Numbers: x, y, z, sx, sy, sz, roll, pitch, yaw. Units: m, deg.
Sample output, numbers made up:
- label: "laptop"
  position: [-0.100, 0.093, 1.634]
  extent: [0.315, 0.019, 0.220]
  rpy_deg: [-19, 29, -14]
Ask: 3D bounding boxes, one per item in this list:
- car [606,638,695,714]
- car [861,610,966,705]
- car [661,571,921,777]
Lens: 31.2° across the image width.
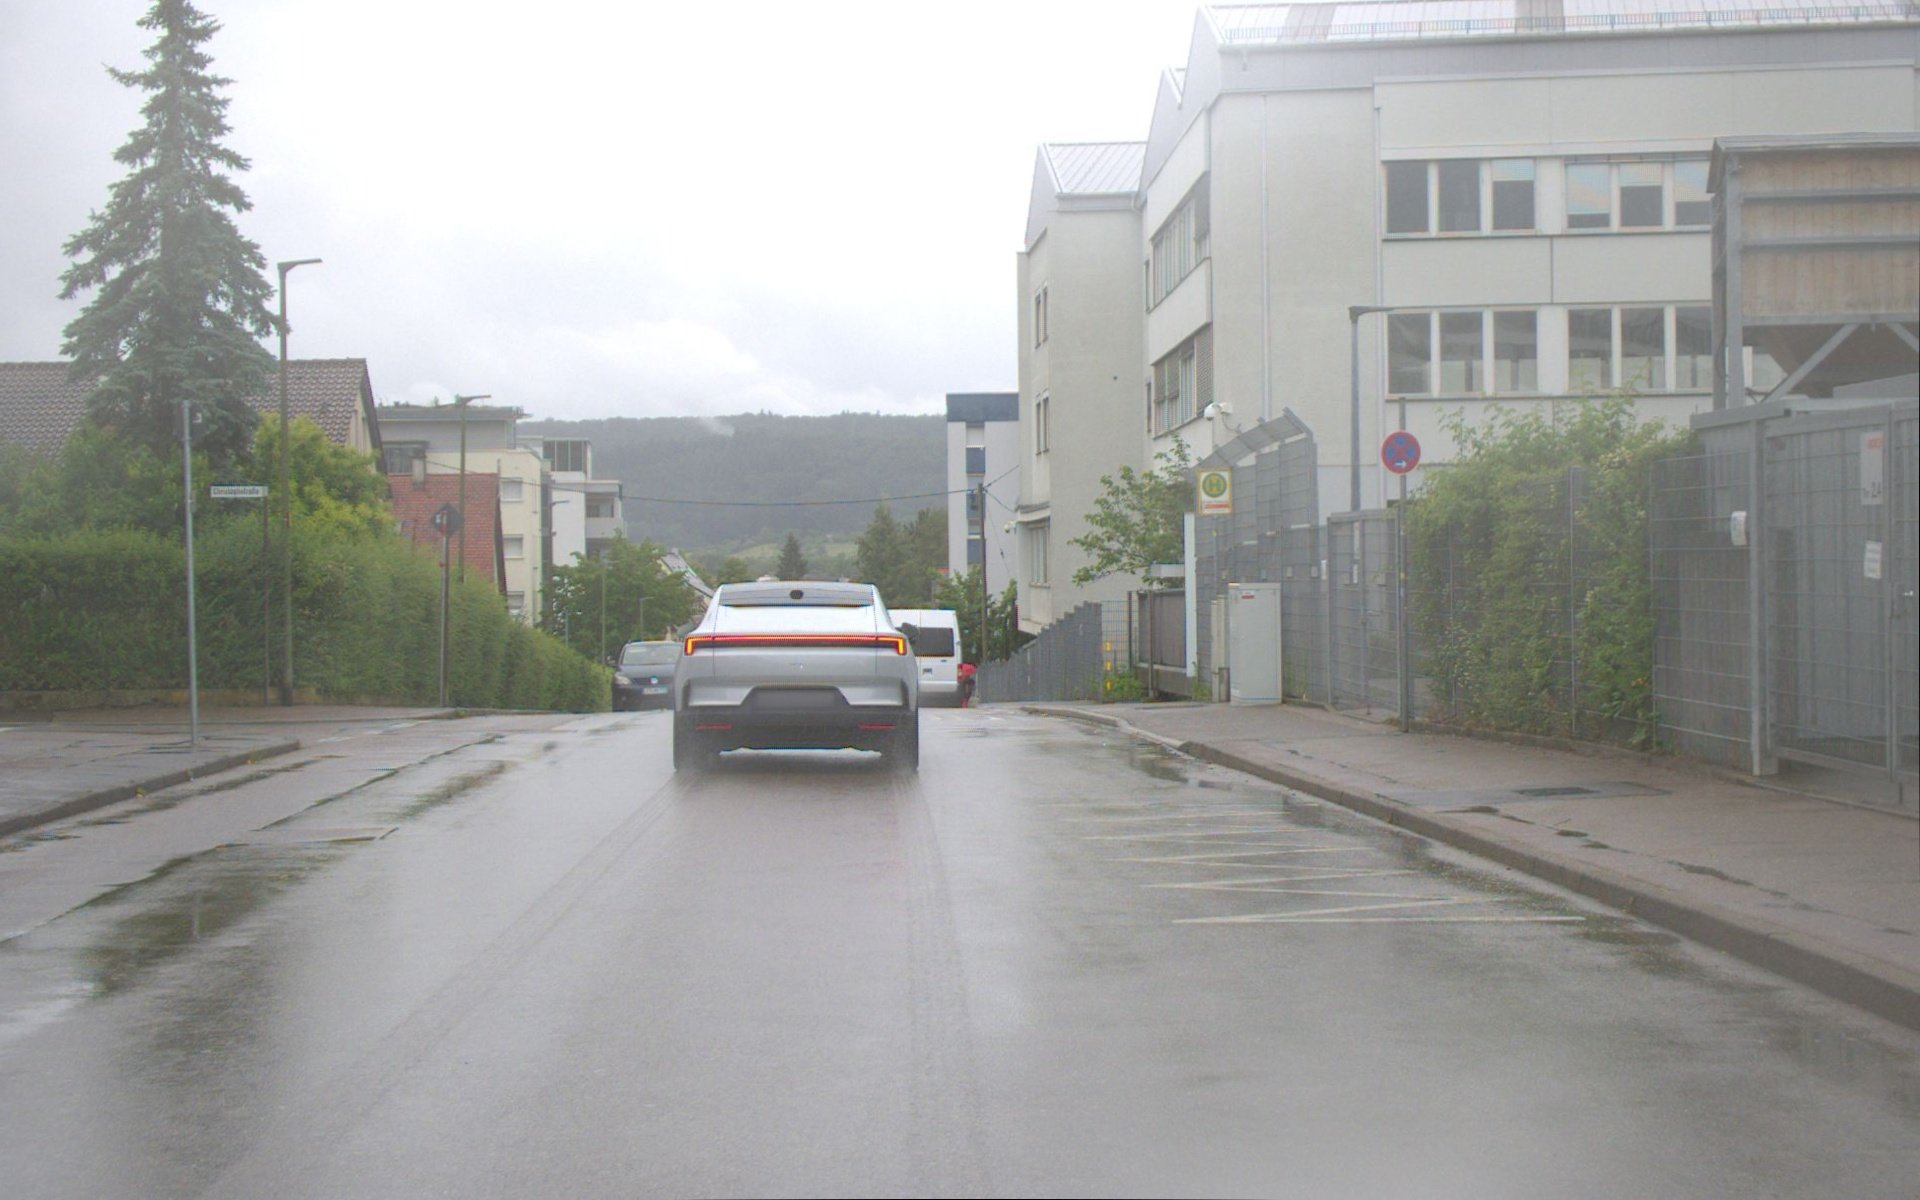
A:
- label: "car"
  position: [-6.358, 1.544, 70.915]
  extent: [1.675, 1.522, 4.000]
  rpy_deg: [0, 0, -3]
- label: "car"
  position: [-1.078, 1.317, 77.396]
  extent: [1.993, 2.007, 4.000]
  rpy_deg: [-1, -2, -6]
- label: "car"
  position: [-1.365, 0.557, 28.910]
  extent: [1.993, 1.497, 4.670]
  rpy_deg: [0, 1, -1]
